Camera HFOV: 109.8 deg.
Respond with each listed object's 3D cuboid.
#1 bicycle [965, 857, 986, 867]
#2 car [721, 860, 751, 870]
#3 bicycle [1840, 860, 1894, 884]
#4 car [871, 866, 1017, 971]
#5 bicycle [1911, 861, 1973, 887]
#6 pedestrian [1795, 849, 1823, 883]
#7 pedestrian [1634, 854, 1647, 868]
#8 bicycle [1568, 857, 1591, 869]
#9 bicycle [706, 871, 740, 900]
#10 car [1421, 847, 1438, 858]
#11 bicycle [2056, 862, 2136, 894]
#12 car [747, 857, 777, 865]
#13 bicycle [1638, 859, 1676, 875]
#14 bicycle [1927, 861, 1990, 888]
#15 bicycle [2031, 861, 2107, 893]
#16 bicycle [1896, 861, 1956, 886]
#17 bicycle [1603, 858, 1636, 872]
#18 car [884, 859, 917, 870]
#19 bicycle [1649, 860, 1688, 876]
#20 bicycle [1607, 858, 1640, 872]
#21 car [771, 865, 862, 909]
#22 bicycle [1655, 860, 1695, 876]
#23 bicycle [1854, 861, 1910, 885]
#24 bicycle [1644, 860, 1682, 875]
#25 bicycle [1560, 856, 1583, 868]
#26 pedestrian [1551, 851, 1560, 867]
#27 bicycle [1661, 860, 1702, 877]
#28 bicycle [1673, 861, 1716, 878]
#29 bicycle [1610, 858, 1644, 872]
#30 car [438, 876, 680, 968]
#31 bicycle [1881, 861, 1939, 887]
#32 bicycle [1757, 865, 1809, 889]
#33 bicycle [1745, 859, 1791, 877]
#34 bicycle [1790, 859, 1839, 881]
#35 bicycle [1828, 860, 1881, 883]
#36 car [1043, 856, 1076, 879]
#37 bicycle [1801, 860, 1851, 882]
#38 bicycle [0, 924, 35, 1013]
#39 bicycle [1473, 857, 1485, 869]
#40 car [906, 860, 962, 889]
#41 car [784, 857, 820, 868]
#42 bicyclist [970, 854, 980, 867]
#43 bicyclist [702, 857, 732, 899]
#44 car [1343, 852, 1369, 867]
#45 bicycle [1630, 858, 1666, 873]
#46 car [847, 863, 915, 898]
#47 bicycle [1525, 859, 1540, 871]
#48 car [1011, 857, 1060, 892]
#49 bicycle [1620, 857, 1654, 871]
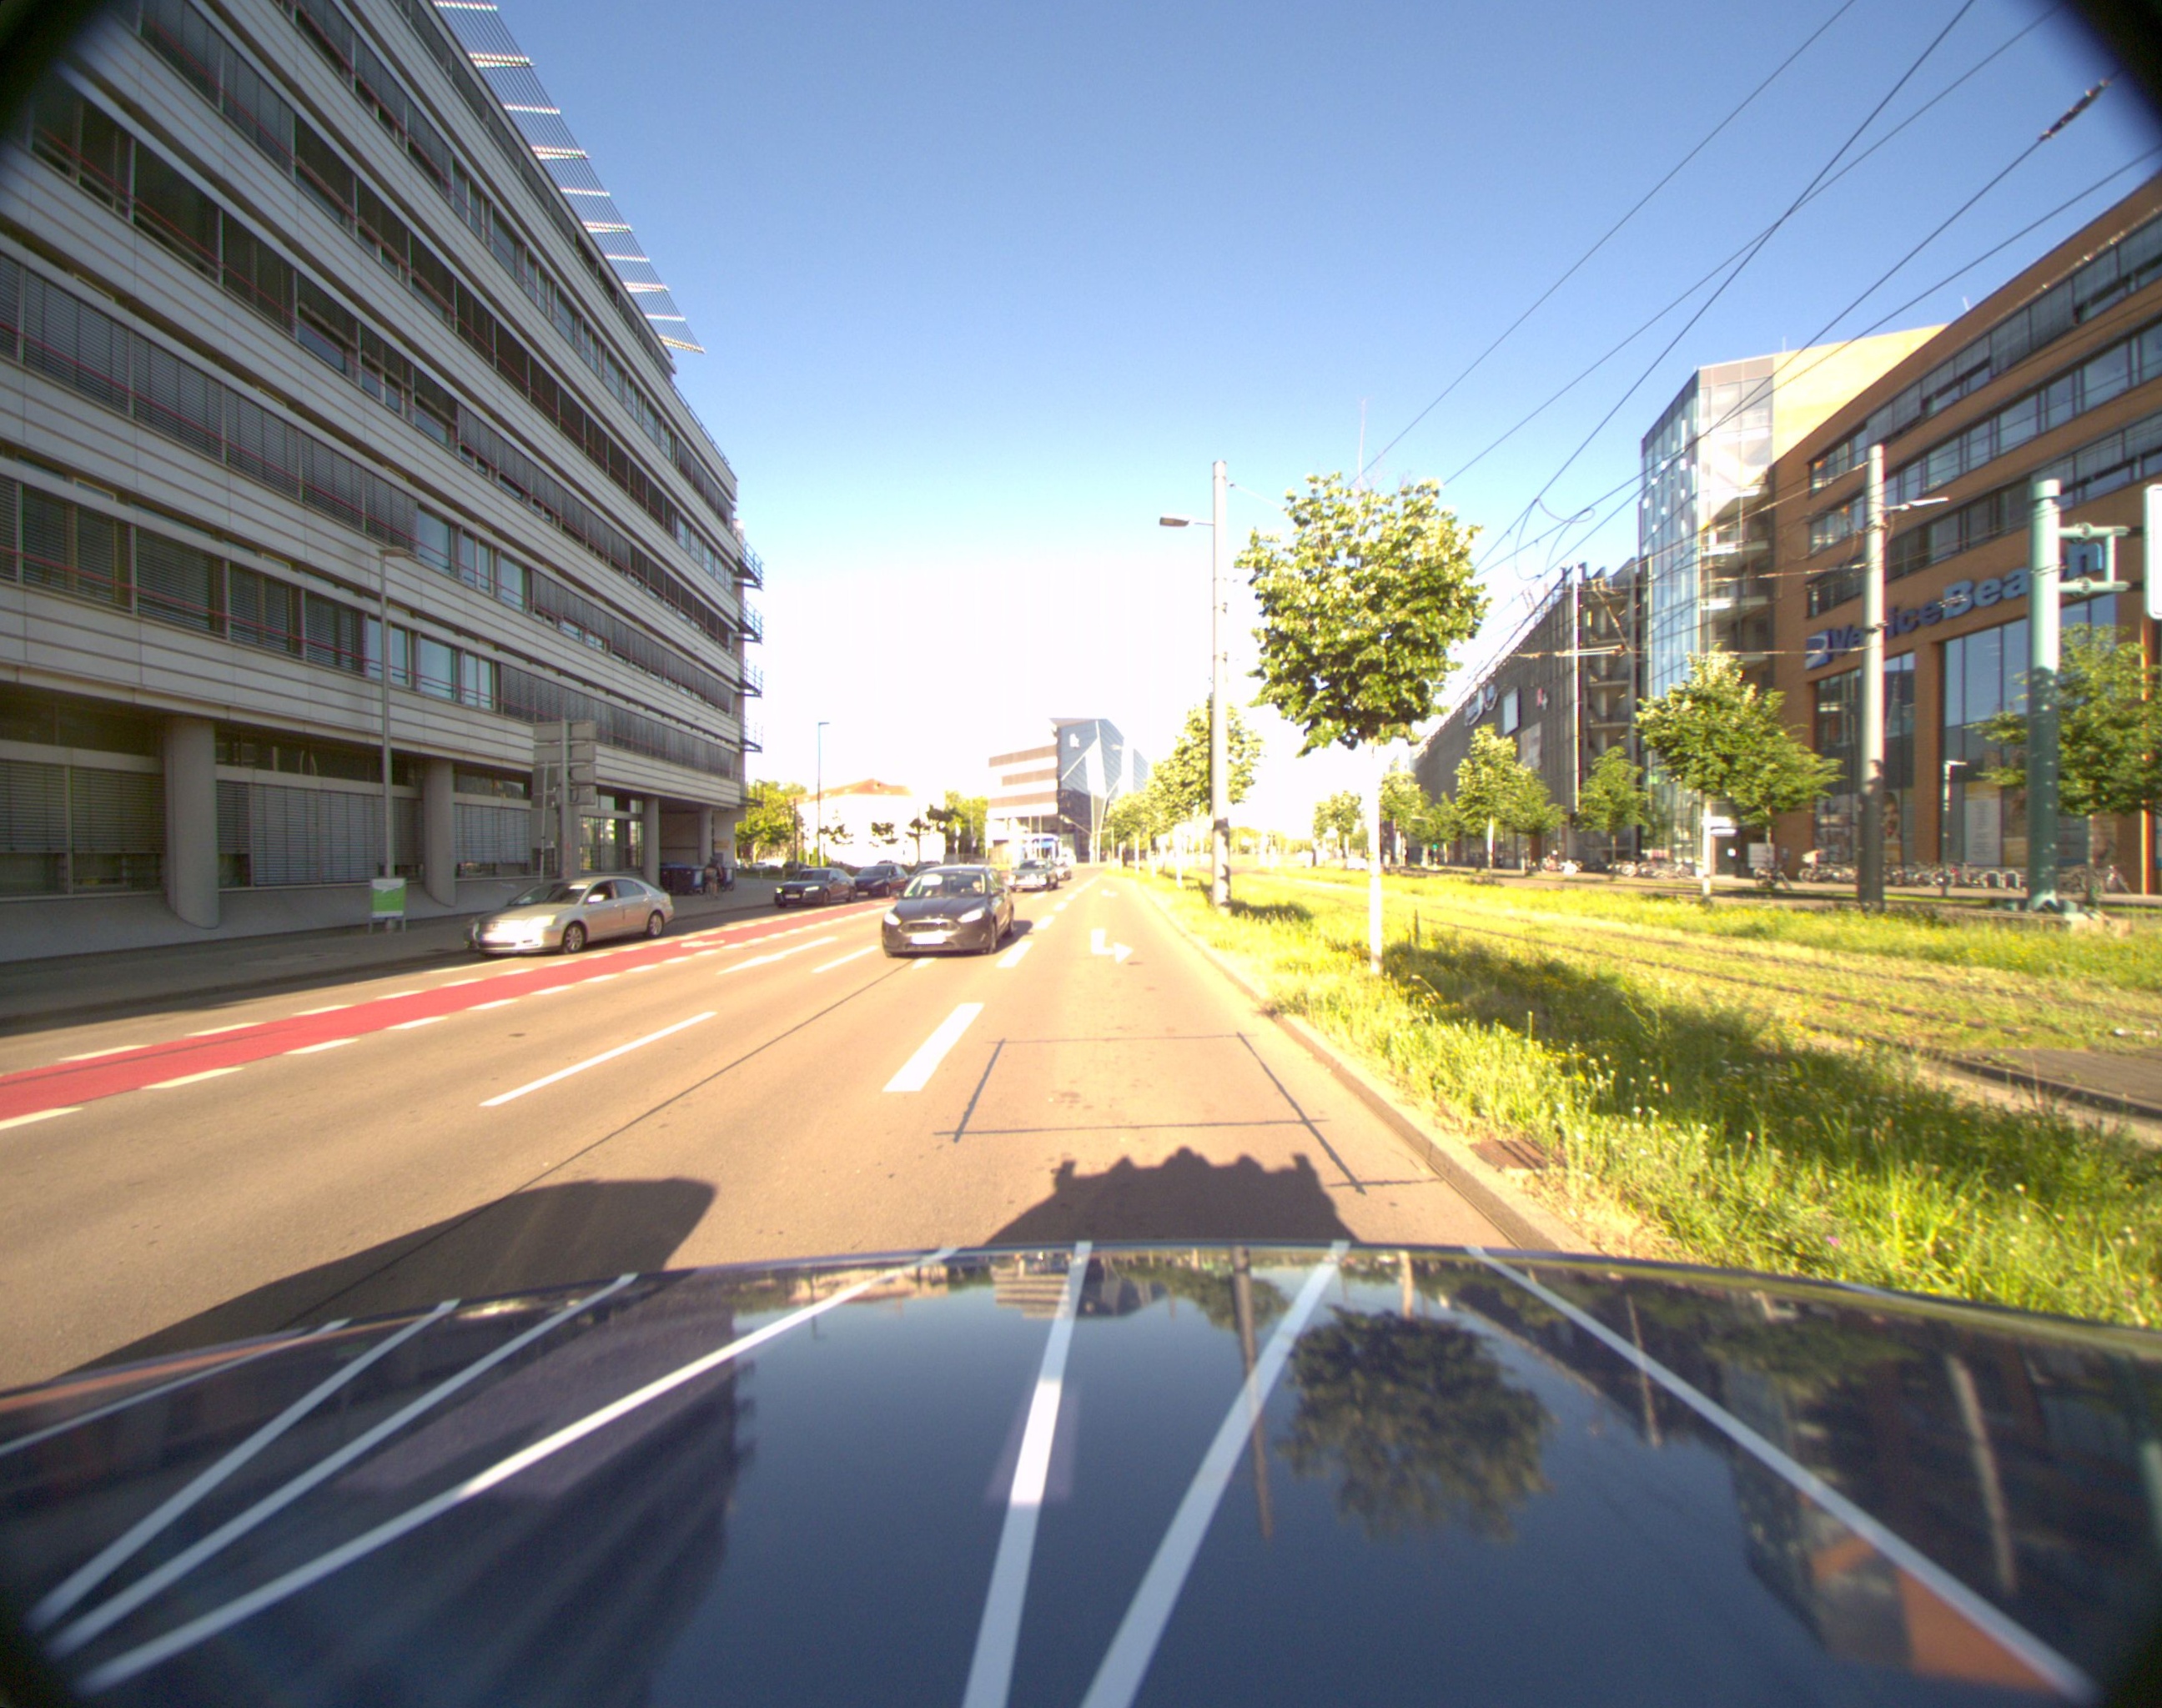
[{"bbox_3d":[-13.540,0.998,97.480,2.368,1.304,0.952,-1,1,13],"label":"bicycle"},{"bbox_3d":[-52.123,1.673,114.746,3.990,1.368,1.938,-1,1,27],"label":"car"},{"bbox_3d":[35.554,0.826,34.382,1.769,1.043,0.491,-1,1,8],"label":"bicycle"},{"bbox_3d":[-2.242,1.001,13.518,1.689,1.425,4.153,-2,0,1],"label":"car"},{"bbox_3d":[35.071,0.826,30.960,1.769,1.043,0.491,-1,1,8],"label":"bicycle"},{"bbox_3d":[36.157,0.572,37.720,0.746,1.659,0.676,-1,1,7],"label":"pedestrian"},{"bbox_3d":[40.592,0.493,55.141,0.629,1.048,0.450,-1,1,13],"label":"pedestrian"},{"bbox_3d":[37.343,0.662,56.951,1.398,0.921,0.462,-1,1,17],"label":"bicycle"},{"bbox_3d":[-14.417,1.255,30.608,0.505,1.052,1.702,2,1,2],"label":"bicycle"},{"bbox_3d":[53.958,-0.235,117.667,1.582,1.521,3.754,-2,1,13],"label":"car"},{"bbox_3d":[34.033,0.796,25.492,1.769,1.043,0.491,-1,1,8],"label":"bicycle"},{"bbox_3d":[-47.117,1.043,112.259,3.990,1.237,2.003,-1,1,26],"label":"car"},{"bbox_3d":[35.441,0.793,46.751,1.768,0.921,0.565,-1,1,17],"label":"bicycle"},{"bbox_3d":[34.996,0.833,30.318,1.769,1.043,0.491,-1,1,8],"label":"bicycle"},{"bbox_3d":[34.027,0.791,26.180,1.769,1.043,0.491,-1,1,8],"label":"bicycle"},{"bbox_3d":[35.192,0.816,31.671,1.769,1.043,0.491,-1,1,8],"label":"bicycle"},{"bbox_3d":[36.778,0.725,51.884,1.768,0.921,0.491,-1,1,17],"label":"bicycle"},{"bbox_3d":[-24.709,1.437,104.014,3.991,1.414,2.003,-1,1,20],"label":"car"},{"bbox_3d":[35.066,0.817,45.382,1.768,0.921,0.565,-1,1,17],"label":"bicycle"},{"bbox_3d":[36.599,0.718,51.295,1.768,0.921,0.491,-1,1,17],"label":"bicycle"},{"bbox_3d":[-9.780,1.176,28.431,1.714,1.432,4.113,-3,-1,3],"label":"car"},{"bbox_3d":[34.848,0.831,44.617,1.768,0.921,0.565,-1,1,17],"label":"bicycle"},{"bbox_3d":[35.444,0.835,33.632,1.769,1.043,0.491,-1,1,8],"label":"bicycle"},{"bbox_3d":[35.250,0.806,46.048,1.768,0.921,0.565,-1,1,17],"label":"bicycle"},{"bbox_3d":[37.691,0.639,58.359,1.398,0.921,0.462,-1,1,17],"label":"bicycle"},{"bbox_3d":[38.233,0.426,61.192,0.448,1.282,0.630,0,1,13],"label":"pedestrian"},{"bbox_3d":[34.622,0.845,43.813,1.768,0.921,0.565,-1,1,17],"label":"bicycle"},{"bbox_3d":[34.540,0.855,42.789,1.768,0.921,0.565,-1,1,17],"label":"bicycle"},{"bbox_3d":[36.393,0.730,50.628,1.768,0.921,0.565,-1,1,17],"label":"bicycle"},{"bbox_3d":[-10.503,1.273,15.802,1.755,1.423,4.489,-2,0,2],"label":"car"},{"bbox_3d":[35.278,0.851,32.342,1.769,1.043,0.491,-1,1,8],"label":"bicycle"},{"bbox_3d":[27.965,0.909,30.318,0.464,0.863,1.771,-1,0,1],"label":"bicycle"},{"bbox_3d":[37.298,0.764,41.251,1.768,0.921,0.565,-1,1,17],"label":"bicycle"},{"bbox_3d":[35.886,0.793,37.176,1.769,1.043,0.491,-1,1,8],"label":"bicycle"},{"bbox_3d":[35.659,0.817,35.050,1.769,1.043,0.491,-1,1,8],"label":"bicycle"},{"bbox_3d":[-1.450,0.899,51.754,1.619,1.421,3.769,-2,1,7],"label":"car"},{"bbox_3d":[35.808,0.800,36.525,1.769,1.043,0.491,-1,1,8],"label":"bicycle"},{"bbox_3d":[-13.500,1.435,8.490,0.500,1.026,2.205,7,1,-1],"label":"bicycle"},{"bbox_3d":[31.426,0.738,59.975,0.386,0.918,1.773,0,1,13],"label":"bicycle"},{"bbox_3d":[-7.943,1.111,41.412,1.437,1.437,4.005,1,-1,13],"label":"car"},{"bbox_3d":[-40.054,1.247,109.201,4.516,1.414,2.002,-1,1,18],"label":"car"},{"bbox_3d":[-13.555,0.840,97.496,1.006,1.598,0.880,-1,1,14],"label":"bicyclist"},{"bbox_3d":[-14.560,0.947,30.400,0.685,1.609,0.991,-1,1,2],"label":"bicyclist"},{"bbox_3d":[25.704,0.476,71.112,1.809,1.320,4.409,0,1,13],"label":"car"},{"bbox_3d":[35.877,0.738,48.064,1.768,0.921,0.491,-1,1,17],"label":"bicycle"},{"bbox_3d":[-9.209,1.171,35.325,1.735,1.437,4.002,1,0,6],"label":"car"},{"bbox_3d":[32.516,0.789,54.697,0.386,0.863,1.773,0,0,13],"label":"bicycle"},{"bbox_3d":[-2.087,0.930,35.835,1.748,1.496,3.882,-1,0,5],"label":"car"},{"bbox_3d":[36.182,0.661,49.465,1.768,0.921,0.491,-1,1,17],"label":"bicycle"}]
